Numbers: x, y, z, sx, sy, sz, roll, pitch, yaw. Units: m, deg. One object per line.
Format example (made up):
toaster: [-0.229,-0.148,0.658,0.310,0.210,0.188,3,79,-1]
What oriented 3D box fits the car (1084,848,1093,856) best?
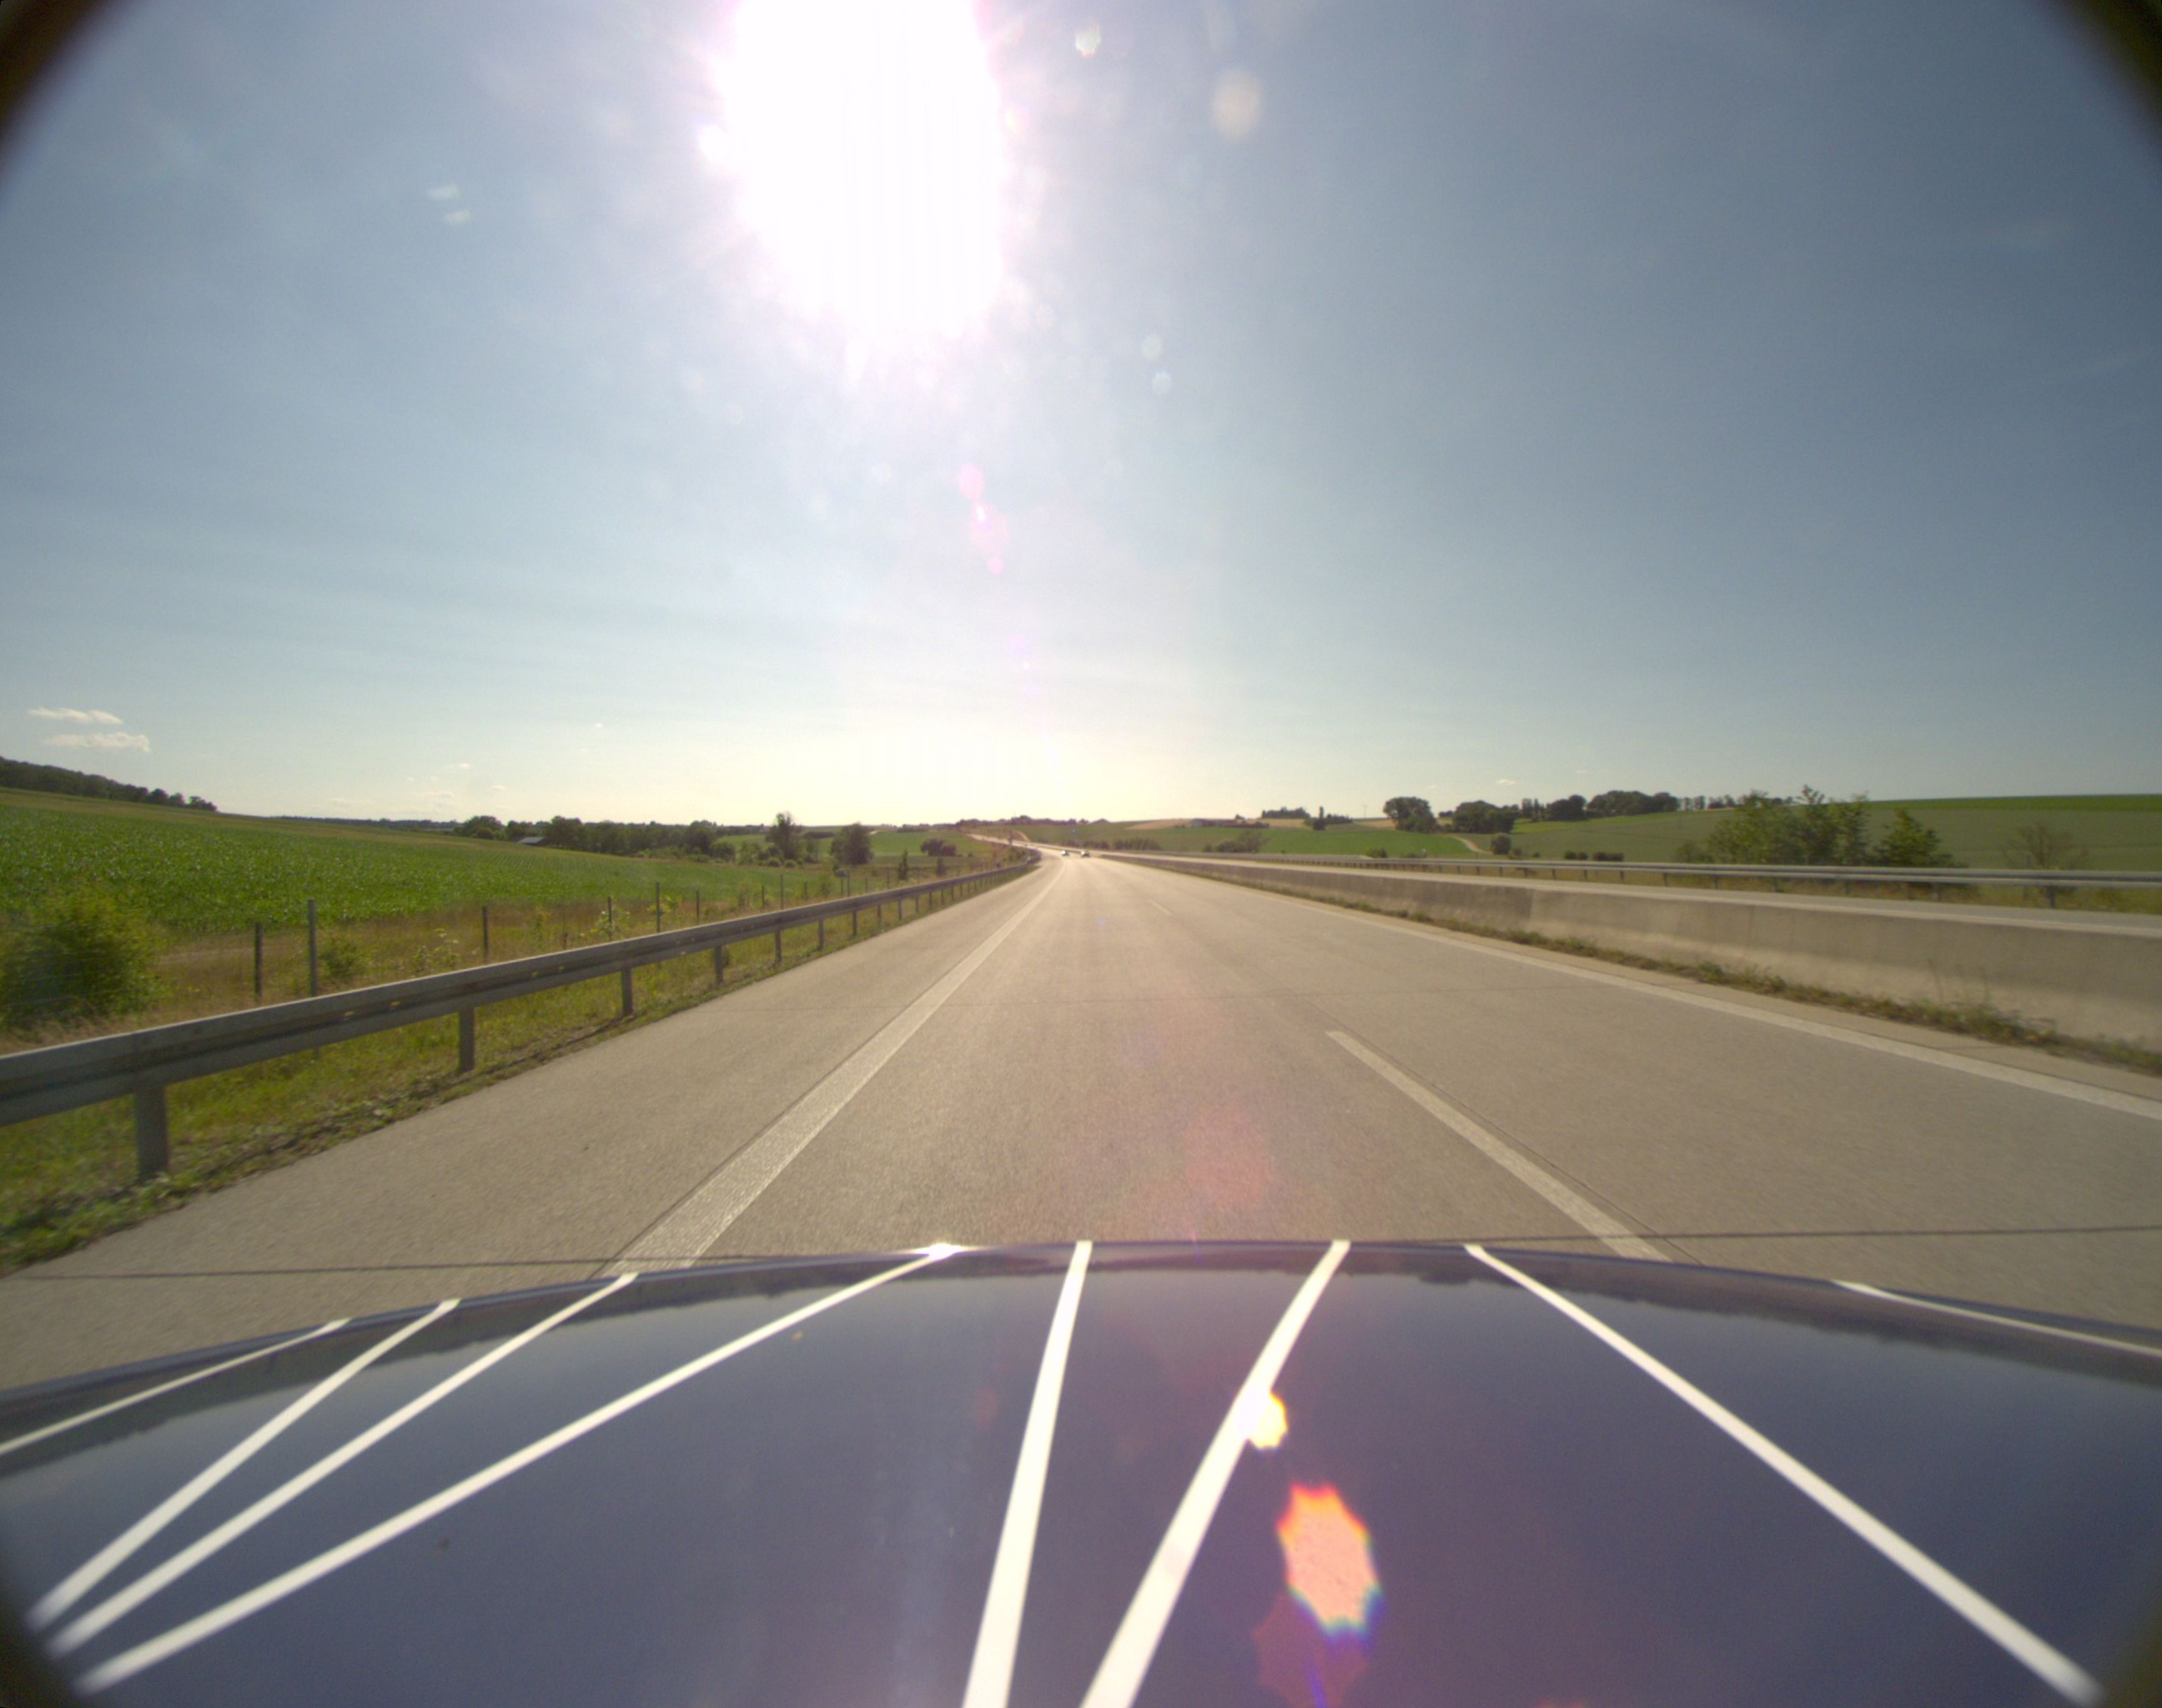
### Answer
car: [1.696,-0.445,169.435,1.715,1.581,4.625,-2,3,1]

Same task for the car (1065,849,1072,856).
car: [-3.448,-0.491,201.910,1.715,1.581,4.624,-2,3,-2]

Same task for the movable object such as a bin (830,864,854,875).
movable object such as a bin: [-66.482,4.195,211.453,6.214,2.756,3.292,0,3,37]
